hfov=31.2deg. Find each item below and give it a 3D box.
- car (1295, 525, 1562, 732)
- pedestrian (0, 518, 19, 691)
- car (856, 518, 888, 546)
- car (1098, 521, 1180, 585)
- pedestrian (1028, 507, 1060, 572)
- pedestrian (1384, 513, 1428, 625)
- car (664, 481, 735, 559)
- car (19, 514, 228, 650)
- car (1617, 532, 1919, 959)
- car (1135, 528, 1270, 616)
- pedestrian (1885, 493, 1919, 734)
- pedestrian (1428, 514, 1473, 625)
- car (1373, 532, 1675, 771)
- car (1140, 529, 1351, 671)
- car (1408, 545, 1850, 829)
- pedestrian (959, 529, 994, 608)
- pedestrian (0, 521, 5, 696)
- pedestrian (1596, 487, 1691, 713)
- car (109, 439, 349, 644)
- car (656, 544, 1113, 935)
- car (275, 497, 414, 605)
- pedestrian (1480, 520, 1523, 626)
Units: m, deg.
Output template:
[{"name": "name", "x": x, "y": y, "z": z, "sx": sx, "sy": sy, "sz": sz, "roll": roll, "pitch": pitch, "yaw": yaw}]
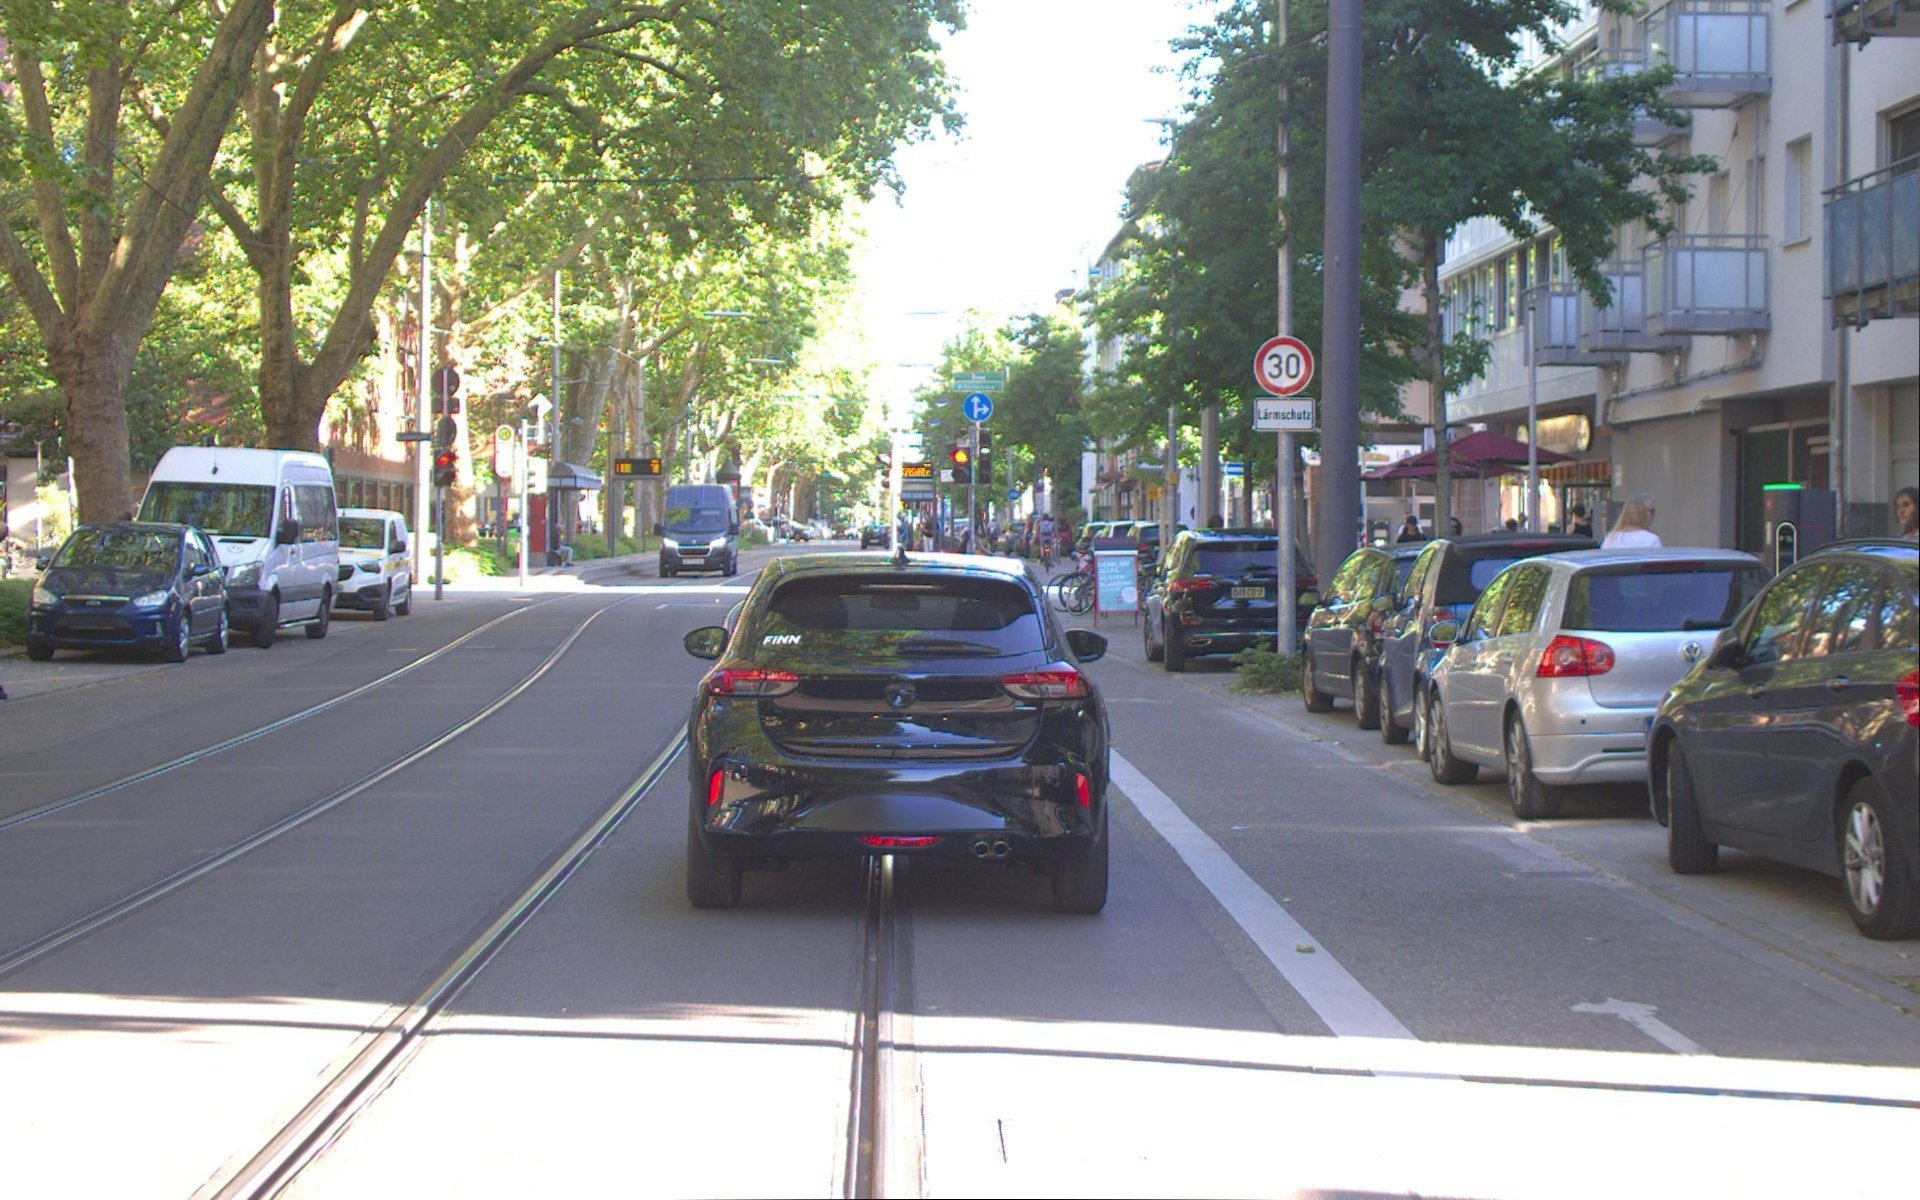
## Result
[{"name": "car", "x": 3.774, "y": 0.179, "z": 28.221, "sx": 1.718, "sy": 1.568, "sz": 3.682, "roll": 1, "pitch": 1, "yaw": 1}, {"name": "pedestrian", "x": -9.044, "y": 0.033, "z": 31.532, "sx": 0.683, "sy": 1.577, "sz": 0.557, "roll": 1, "pitch": 1, "yaw": -3}, {"name": "car", "x": -5.250, "y": -4.042, "z": 205.040, "sx": 1.750, "sy": 1.646, "sz": 4.000, "roll": 1, "pitch": 1, "yaw": 1}, {"name": "car", "x": 4.961, "y": -1.328, "z": 95.681, "sx": 1.993, "sy": 1.700, "sz": 4.000, "roll": 1, "pitch": 1, "yaw": -1}, {"name": "pedestrian", "x": 2.685, "y": -1.921, "z": 109.466, "sx": 0.856, "sy": 2.007, "sz": 1.069, "roll": -4, "pitch": 1, "yaw": 0}, {"name": "pedestrian", "x": 6.962, "y": -0.486, "z": 53.681, "sx": 0.629, "sy": 1.727, "sz": 0.632, "roll": 1, "pitch": 1, "yaw": 4}, {"name": "car", "x": -7.654, "y": -2.343, "z": 100.580, "sx": 1.993, "sy": 2.204, "sz": 5.103, "roll": 0, "pitch": 1, "yaw": -5}, {"name": "car", "x": -9.780, "y": -0.248, "z": 40.441, "sx": 1.754, "sy": 1.503, "sz": 4.001, "roll": 0, "pitch": 1, "yaw": -4}, {"name": "car", "x": 4.236, "y": 0.505, "z": 14.750, "sx": 1.718, "sy": 1.568, "sz": 4.086, "roll": 1, "pitch": 1, "yaw": -5}, {"name": "car", "x": 4.727, "y": -0.564, "z": 66.601, "sx": 1.995, "sy": 1.634, "sz": 3.998, "roll": 1, "pitch": 1, "yaw": 13}, {"name": "pedestrian", "x": 7.297, "y": 0.094, "z": 25.227, "sx": 0.793, "sy": 1.742, "sz": 0.770, "roll": 1, "pitch": 1, "yaw": 2}, {"name": "pedestrian", "x": 7.656, "y": -0.480, "z": 53.649, "sx": 0.629, "sy": 1.727, "sz": 0.632, "roll": 1, "pitch": 1, "yaw": 4}, {"name": "car", "x": 3.929, "y": 0.311, "z": 24.364, "sx": 1.651, "sy": 1.568, "sz": 3.083, "roll": 1, "pitch": 1, "yaw": 1}, {"name": "car", "x": 3.186, "y": -0.044, "z": 39.045, "sx": 1.993, "sy": 1.503, "sz": 4.000, "roll": 1, "pitch": 1, "yaw": -1}, {"name": "car", "x": 3.819, "y": 0.439, "z": 20.234, "sx": 1.718, "sy": 1.485, "sz": 3.682, "roll": 1, "pitch": 1, "yaw": -3}, {"name": "pedestrian", "x": 0.335, "y": -0.648, "z": 70.346, "sx": 0.594, "sy": 1.584, "sz": 0.893, "roll": 0, "pitch": 1, "yaw": -8}, {"name": "pedestrian", "x": -8.888, "y": 0.080, "z": 30.828, "sx": 0.506, "sy": 1.577, "sz": 0.527, "roll": 1, "pitch": 1, "yaw": -1}, {"name": "pedestrian", "x": 5.055, "y": -0.009, "z": 25.439, "sx": 0.600, "sy": 1.646, "sz": 0.630, "roll": 1, "pitch": 1, "yaw": 5}, {"name": "car", "x": -9.790, "y": -0.807, "z": 46.559, "sx": 2.092, "sy": 2.575, "sz": 5.997, "roll": 1, "pitch": 1, "yaw": -1}, {"name": "car", "x": -0.333, "y": 0.501, "z": 14.865, "sx": 1.679, "sy": 1.417, "sz": 3.628, "roll": 2, "pitch": 1, "yaw": -1}, {"name": "car", "x": -10.133, "y": -0.830, "z": 56.796, "sx": 1.993, "sy": 1.711, "sz": 4.001, "roll": 0, "pitch": 1, "yaw": -6}, {"name": "pedestrian", "x": 8.876, "y": -0.445, "z": 56.383, "sx": 0.629, "sy": 1.727, "sz": 0.632, "roll": 1, "pitch": 1, "yaw": 5}]
